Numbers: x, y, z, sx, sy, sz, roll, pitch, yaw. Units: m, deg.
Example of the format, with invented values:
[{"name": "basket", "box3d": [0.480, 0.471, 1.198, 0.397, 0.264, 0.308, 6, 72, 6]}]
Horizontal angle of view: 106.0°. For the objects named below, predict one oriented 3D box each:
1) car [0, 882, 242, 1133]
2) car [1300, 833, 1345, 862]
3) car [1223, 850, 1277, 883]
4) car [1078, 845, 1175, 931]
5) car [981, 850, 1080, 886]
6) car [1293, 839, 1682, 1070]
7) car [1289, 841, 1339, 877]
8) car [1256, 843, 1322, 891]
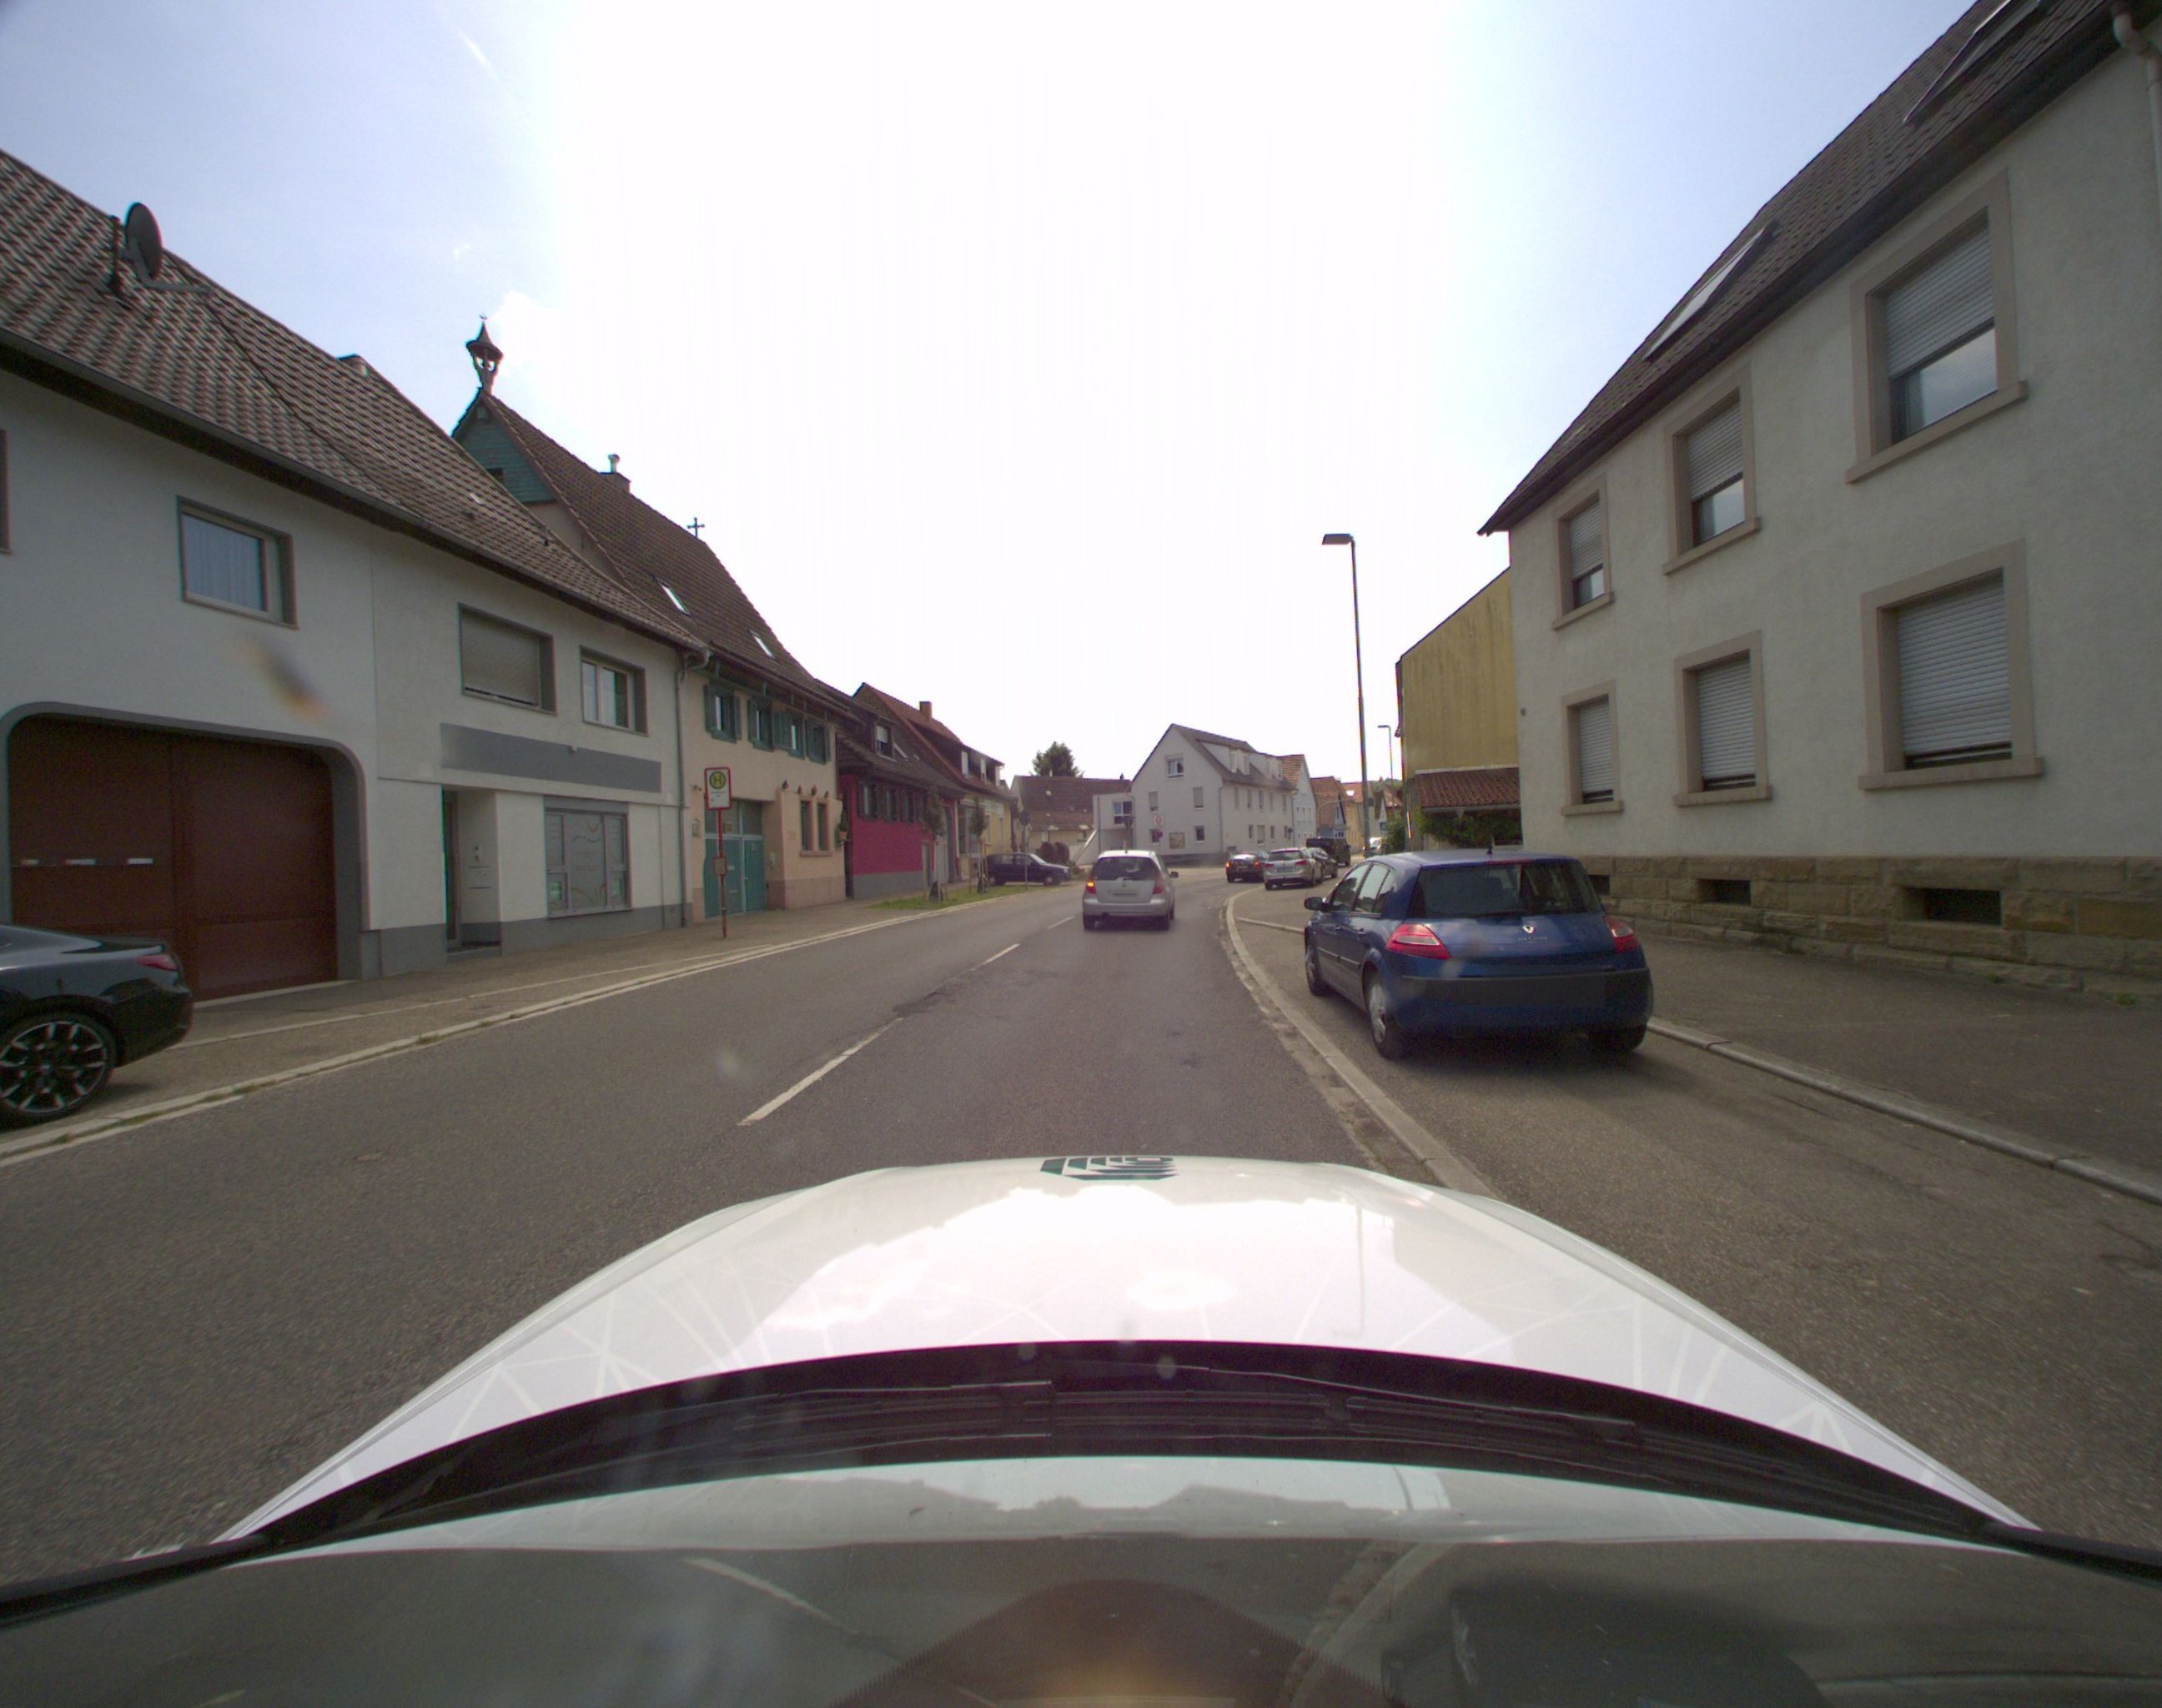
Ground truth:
[{"name": "car", "box3d": [-6.961, 0.919, 3.476, 1.759, 1.349, 4.756, -1, 1, 1]}, {"name": "car", "box3d": [15.796, -0.391, 53.225, 1.974, 1.816, 4.024, -1, -1, 29]}, {"name": "car", "box3d": [7.790, 0.564, 37.310, 1.735, 1.416, 4.021, -1, -1, 22]}, {"name": "car", "box3d": [1.087, 0.635, 17.673, 1.800, 1.643, 3.737, 0, 1, 8]}, {"name": "car", "box3d": [-2.113, 0.575, 34.833, 3.946, 1.464, 1.724, -1, 0, 6]}, {"name": "car", "box3d": [3.028, 0.668, 7.064, 1.713, 1.385, 4.007, -2, -1, 7]}, {"name": "car", "box3d": [10.532, 0.238, 36.664, 1.869, 1.530, 4.020, -1, -1, 20]}, {"name": "car", "box3d": [7.808, 0.431, 30.271, 1.869, 1.530, 4.357, -5, -1, 20]}]
